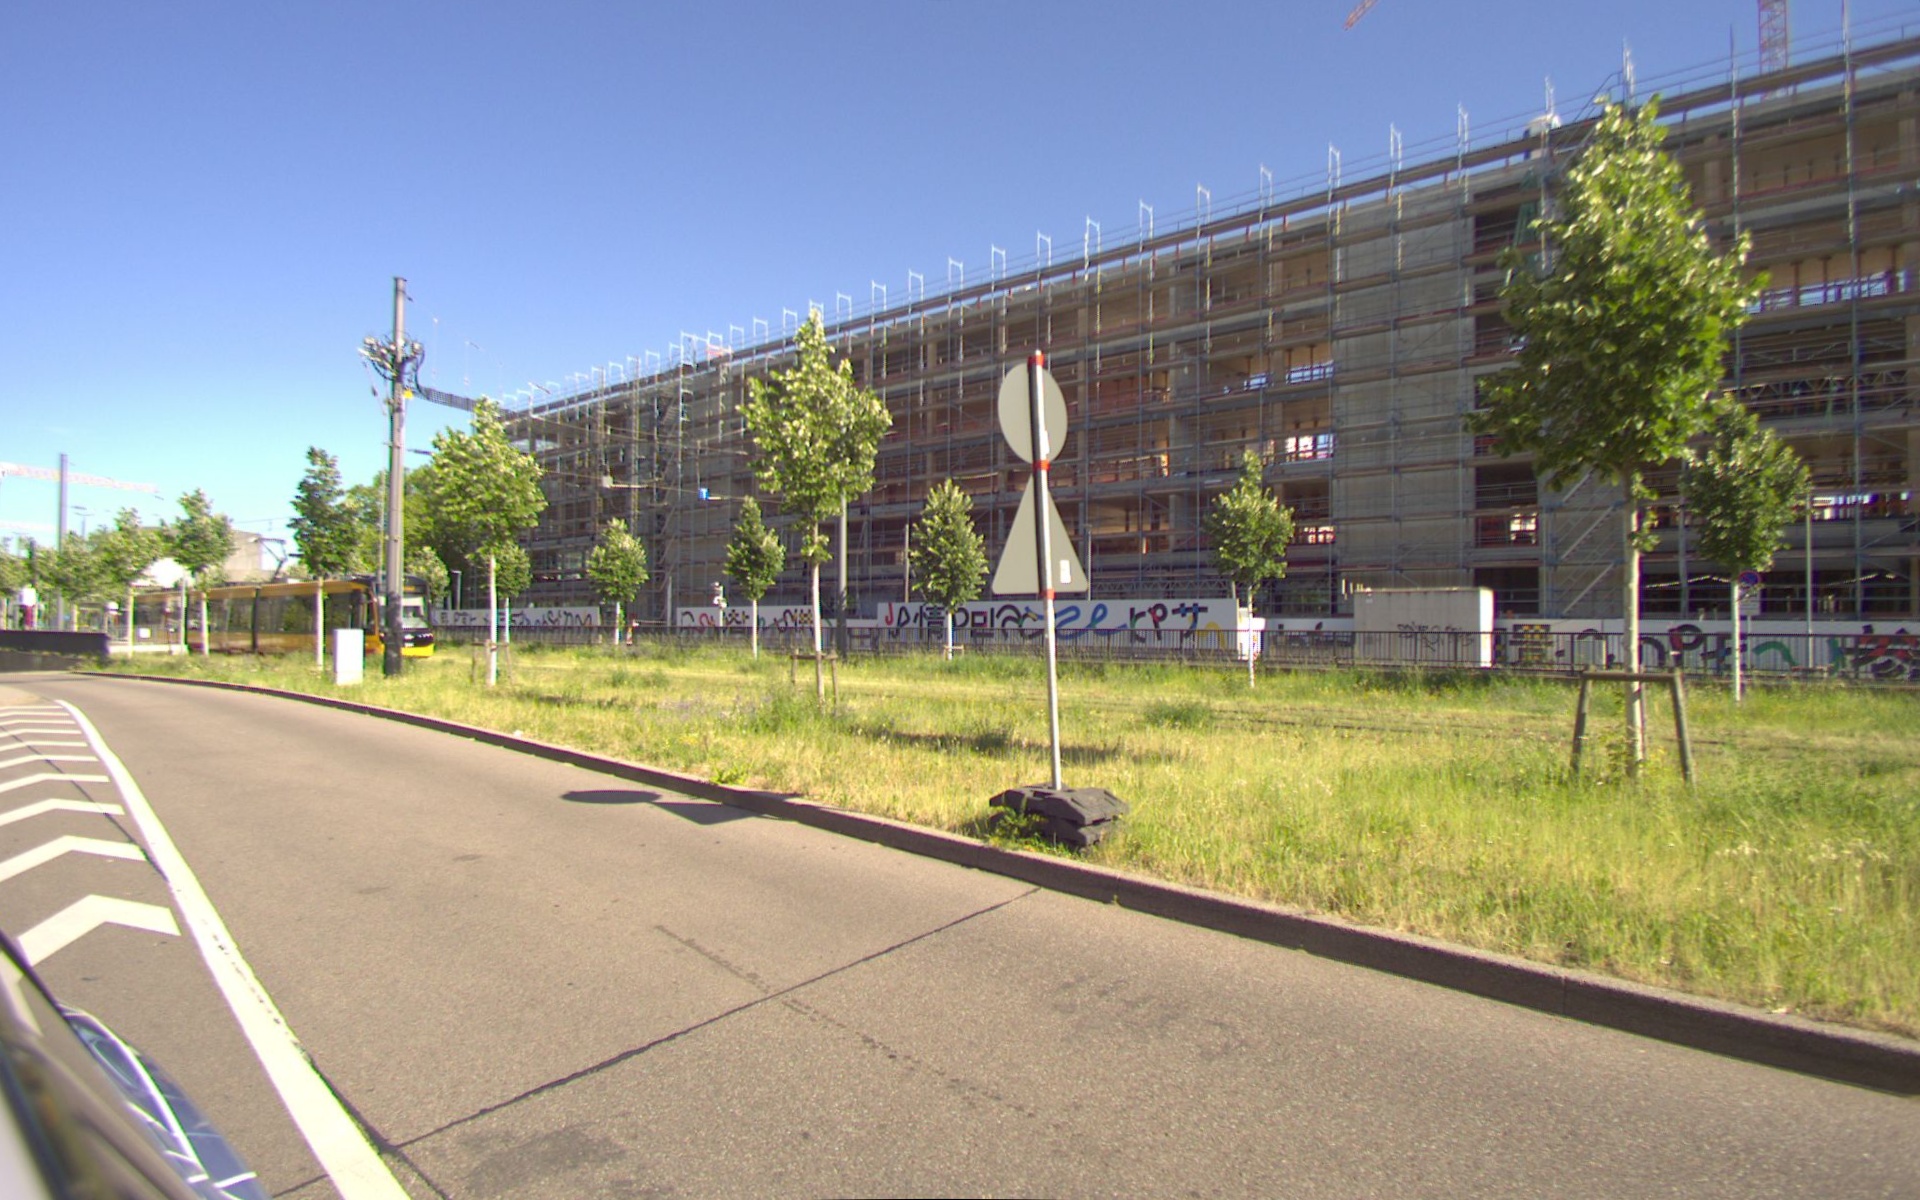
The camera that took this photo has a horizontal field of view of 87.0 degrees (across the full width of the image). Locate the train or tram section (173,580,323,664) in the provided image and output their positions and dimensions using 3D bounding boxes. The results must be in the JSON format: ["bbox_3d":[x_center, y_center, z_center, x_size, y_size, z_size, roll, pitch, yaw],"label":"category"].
[{"bbox_3d":[-35.134,1.097,49.634,12.778,3.666,2.787,-1,-2,40],"label":"train or tram section"}]

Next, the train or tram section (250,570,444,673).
[{"bbox_3d":[-25.368,0.906,41.407,12.778,3.666,2.787,-1,-2,40],"label":"train or tram section"}]

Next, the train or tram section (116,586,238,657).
[{"bbox_3d":[-44.944,1.248,57.851,12.778,3.666,2.787,-1,-2,40],"label":"train or tram section"}]
